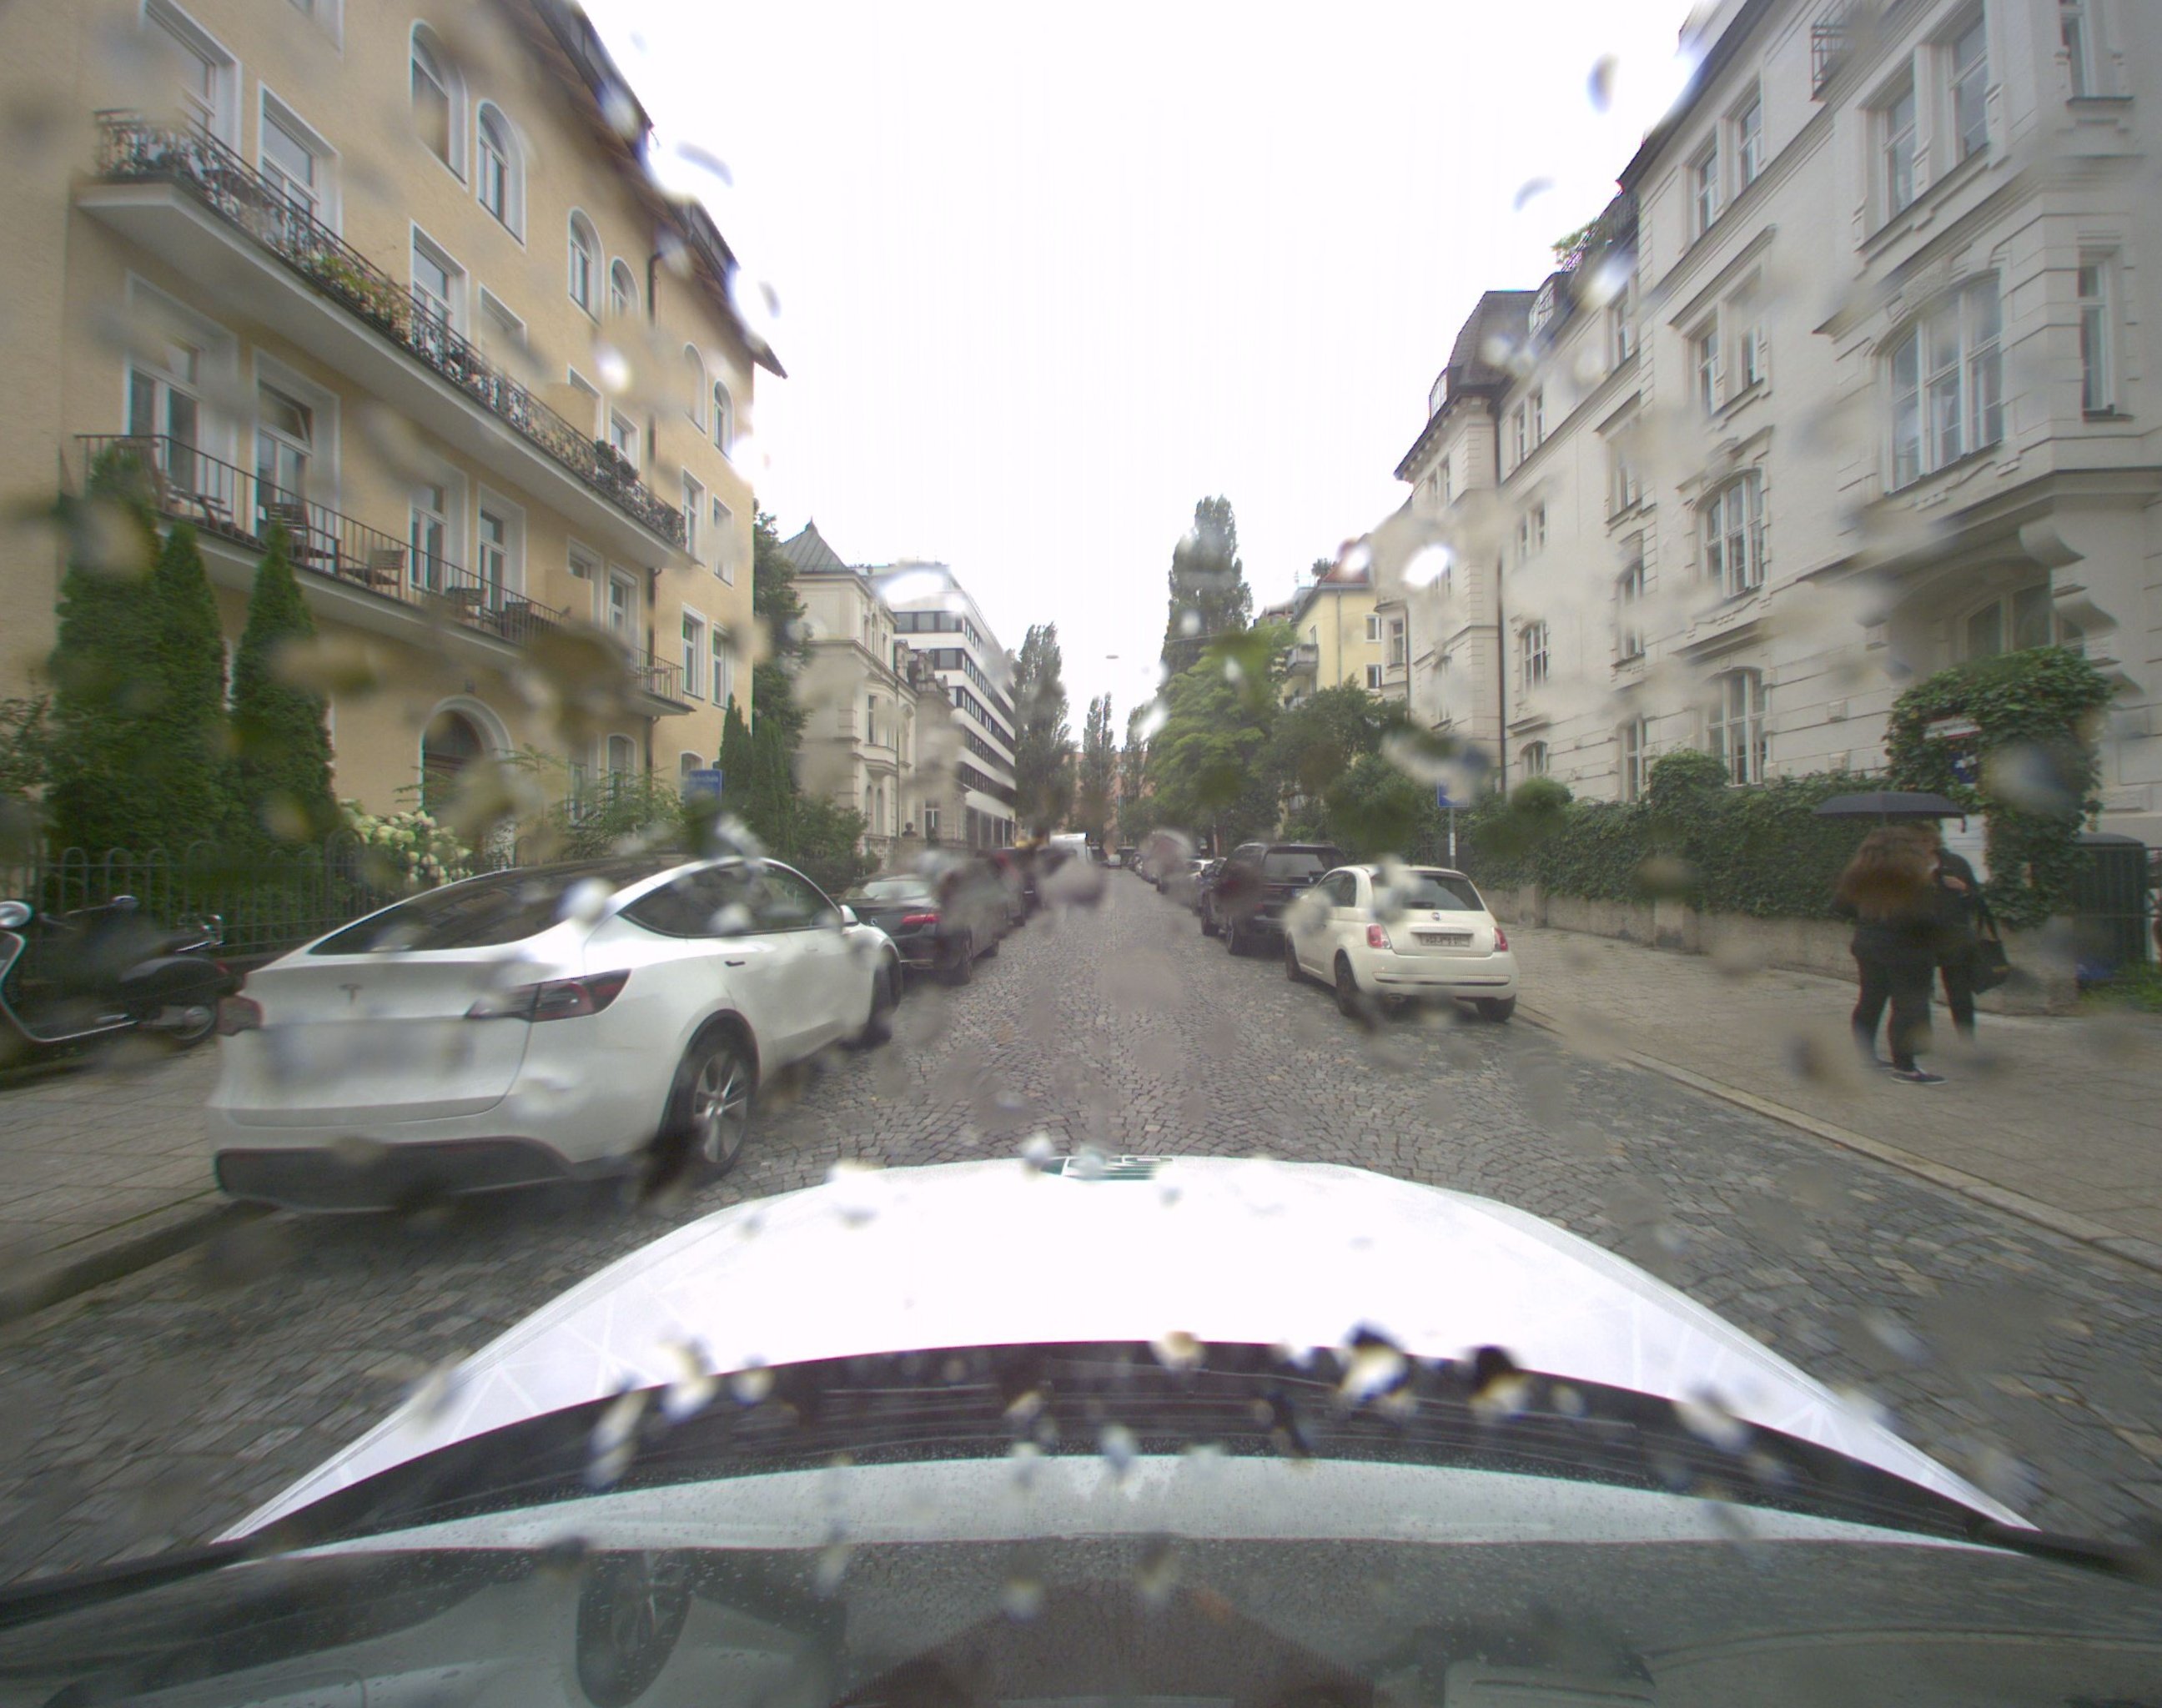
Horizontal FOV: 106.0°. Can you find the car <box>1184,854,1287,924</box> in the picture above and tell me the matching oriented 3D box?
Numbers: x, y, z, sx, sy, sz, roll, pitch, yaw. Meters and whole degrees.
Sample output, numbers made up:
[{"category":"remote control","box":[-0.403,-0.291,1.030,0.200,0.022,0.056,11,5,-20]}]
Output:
[{"category":"car","box":[3.699,0.801,20.175,1.703,1.482,4.248,2,-1,0]}]

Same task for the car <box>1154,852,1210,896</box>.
[{"category":"car","box":[4.257,0.821,34.970,1.956,1.759,4.955,0,-1,2]}]

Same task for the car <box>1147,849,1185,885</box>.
[{"category":"car","box":[4.928,0.769,47.908,1.793,1.949,4.861,3,-1,2]}]

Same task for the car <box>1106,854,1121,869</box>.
[{"category":"car","box":[4.304,1.002,107.326,1.988,1.936,4.003,0,-1,3]}]

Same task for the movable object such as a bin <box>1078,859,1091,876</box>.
[{"category":"movable object such as a bin","box":[0.279,1.126,66.083,1.060,1.363,1.290,0,-1,2]}]

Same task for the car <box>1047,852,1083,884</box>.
[{"category":"car","box":[-0.880,0.767,46.352,1.887,1.751,4.168,-1,0,0]}]

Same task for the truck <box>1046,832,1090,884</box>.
[{"category":"truck","box":[-0.755,0.245,52.414,2.499,3.032,6.386,-2,0,1]}]

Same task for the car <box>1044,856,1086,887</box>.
[{"category":"car","box":[-0.747,0.866,41.080,1.933,1.459,4.058,0,-1,1]}]

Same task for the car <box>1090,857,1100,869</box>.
[{"category":"car","box":[1.866,1.193,107.035,1.271,1.541,3.120,0,-1,2]}]

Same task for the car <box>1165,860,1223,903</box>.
[{"category":"car","box":[4.149,0.996,30.333,1.677,1.453,3.967,2,-1,2]}]

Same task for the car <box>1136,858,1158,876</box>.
[{"category":"car","box":[5.360,1.056,66.074,1.594,1.486,3.480,0,-1,2]}]

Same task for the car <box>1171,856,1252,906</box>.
[{"category":"car","box":[4.005,0.820,25.726,1.769,1.429,4.388,0,-1,-1]}]

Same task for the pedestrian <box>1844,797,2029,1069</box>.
[{"category":"pedestrian","box":[6.194,0.532,5.916,0.630,1.808,0.655,-5,1,-21]}]

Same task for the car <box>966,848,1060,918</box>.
[{"category":"car","box":[-1.760,0.733,22.670,1.974,1.737,4.726,0,0,3]}]

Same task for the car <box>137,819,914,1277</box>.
[{"category":"car","box":[-2.552,0.762,5.239,1.766,1.647,4.394,-2,-1,3]}]

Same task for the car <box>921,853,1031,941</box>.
[{"category":"car","box":[-2.104,0.837,17.317,1.573,1.590,4.058,-2,-1,2]}]

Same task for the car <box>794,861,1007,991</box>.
[{"category":"car","box":[-2.202,0.828,11.217,1.767,1.429,4.393,0,-1,2]}]

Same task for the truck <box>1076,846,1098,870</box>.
[{"category":"truck","box":[0.628,0.400,81.156,1.986,2.347,4.070,0,-1,2]}]

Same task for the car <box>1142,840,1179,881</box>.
[{"category":"car","box":[5.145,0.393,53.527,1.888,2.426,5.613,4,0,1]}]

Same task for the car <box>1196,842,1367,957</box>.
[{"category":"car","box":[3.305,0.697,14.633,1.868,1.673,5.492,0,-1,1]}]

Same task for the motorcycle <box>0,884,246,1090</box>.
[{"category":"motorcycle","box":[-6.677,0.819,5.450,0.489,1.194,1.580,0,-1,2]}]

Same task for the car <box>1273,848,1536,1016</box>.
[{"category":"car","box":[3.376,0.730,9.255,1.624,1.469,3.660,2,-1,2]}]

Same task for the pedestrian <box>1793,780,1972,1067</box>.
[{"category":"pedestrian","box":[5.501,0.453,5.633,0.572,1.850,0.683,-1,-1,9]}]

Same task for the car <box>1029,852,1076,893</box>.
[{"category":"car","box":[-1.191,0.800,35.839,1.767,1.718,4.392,0,-1,1]}]

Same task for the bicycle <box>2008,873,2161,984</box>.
[{"category":"bicycle","box":[10.371,0.714,8.170,0.392,1.042,1.484,0,-1,-3]}]
